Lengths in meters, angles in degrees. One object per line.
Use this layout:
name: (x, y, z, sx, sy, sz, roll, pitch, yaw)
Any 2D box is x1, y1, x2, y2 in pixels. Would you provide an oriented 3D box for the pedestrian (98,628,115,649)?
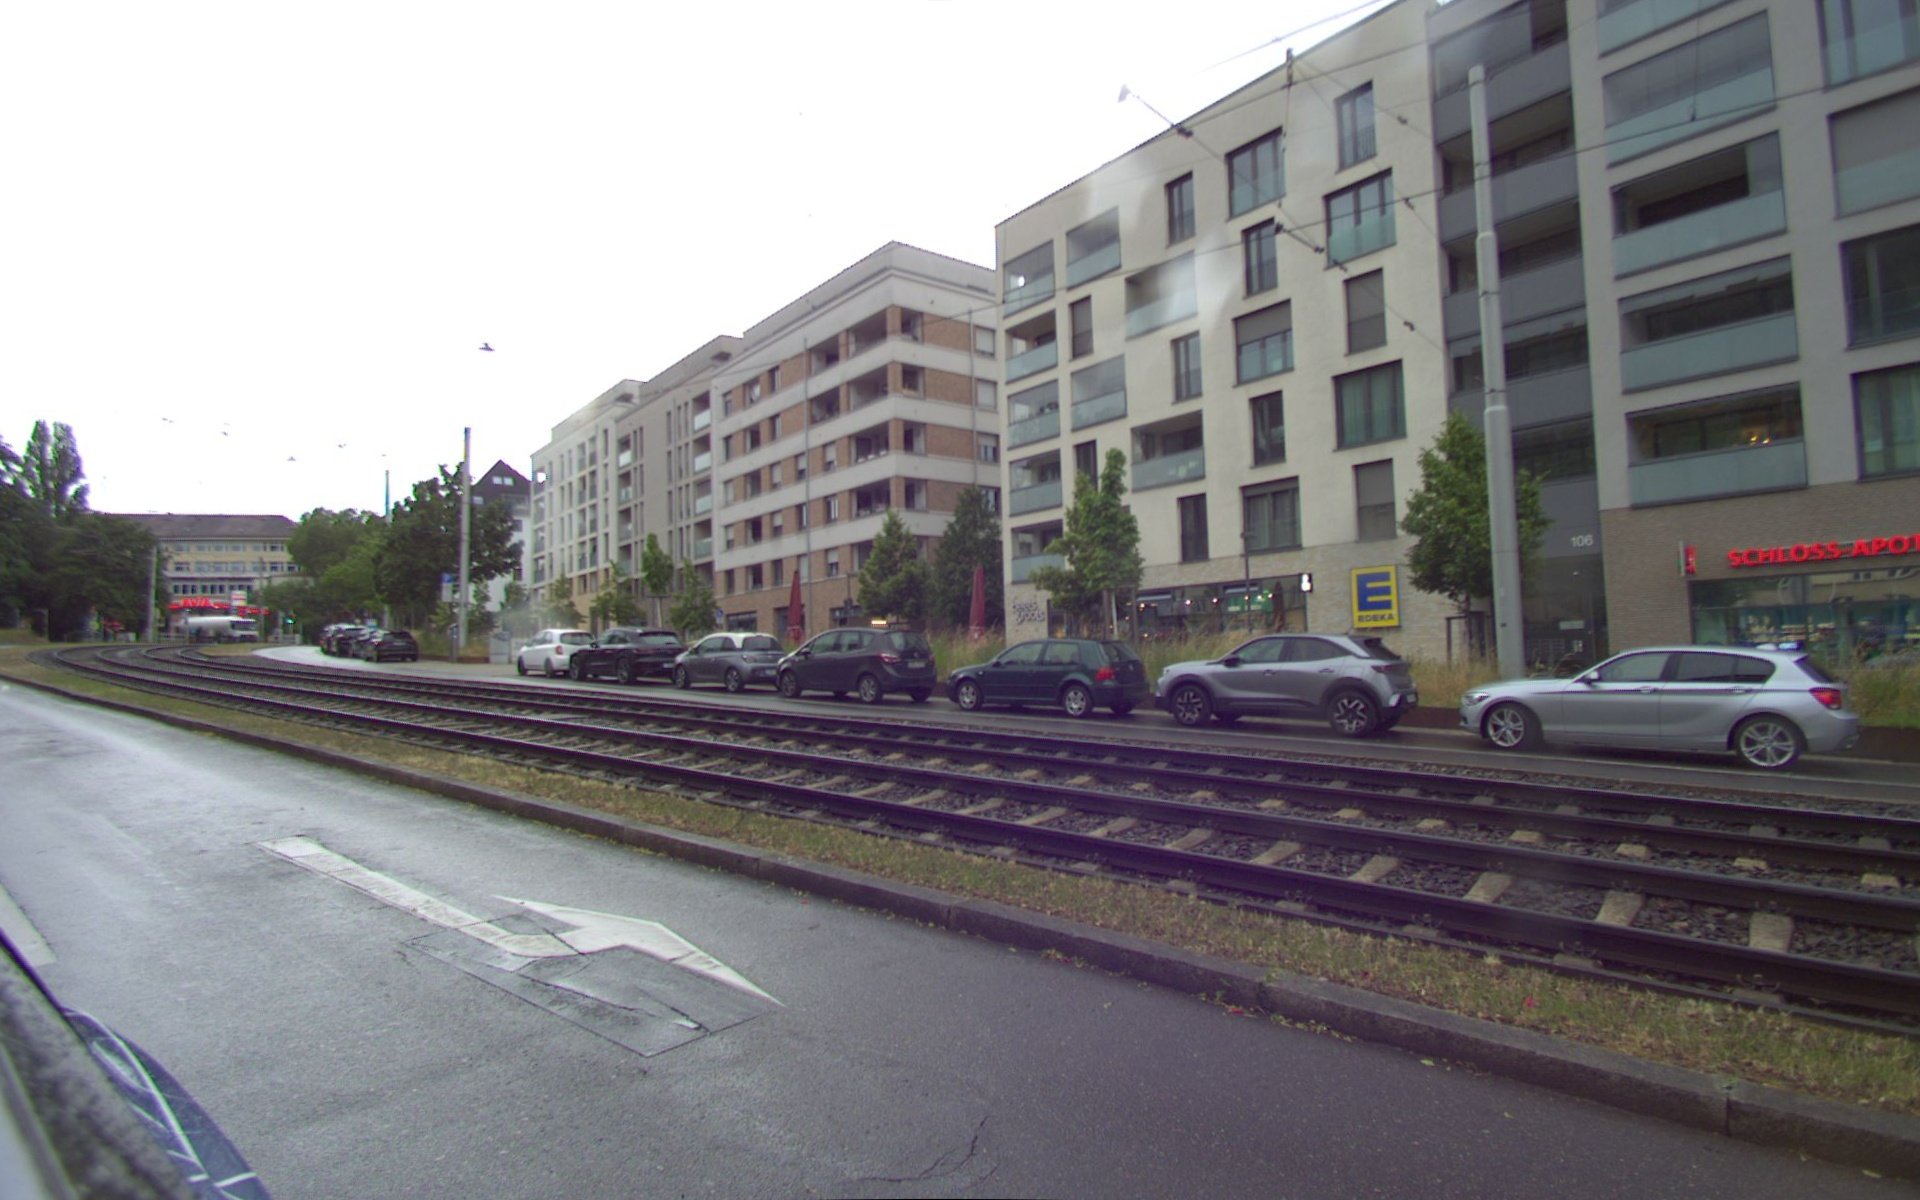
pedestrian: (-75.277, 3.376, 89.271, 0.805, 1.777, 0.750, 2, -4, -10)

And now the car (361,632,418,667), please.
car: (-26.306, 2.245, 46.627, 1.630, 1.475, 3.676, -1, 0, -40)

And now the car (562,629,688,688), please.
car: (-9.703, 1.631, 29.129, 1.660, 1.516, 4.408, 0, -1, -44)

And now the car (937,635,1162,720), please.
car: (1.619, 1.385, 19.157, 4.030, 1.391, 1.663, -1, -1, 40)

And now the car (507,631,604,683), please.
car: (-13.131, 1.801, 32.734, 1.627, 1.516, 3.784, 0, -1, -44)

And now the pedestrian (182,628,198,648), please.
pedestrian: (-70.944, 3.534, 93.253, 0.739, 1.777, 0.818, 1, -4, 3)

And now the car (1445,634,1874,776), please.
car: (8.815, 1.211, 13.062, 4.326, 1.475, 1.663, -1, -1, 40)

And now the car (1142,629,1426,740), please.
car: (5.125, 1.252, 16.240, 4.042, 1.541, 1.665, -1, -1, 36)

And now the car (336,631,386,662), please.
car: (-31.335, 2.402, 52.875, 1.630, 1.475, 3.676, -1, 0, -40)

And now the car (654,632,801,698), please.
car: (-6.014, 1.601, 25.944, 3.926, 1.516, 1.663, -1, -1, 40)

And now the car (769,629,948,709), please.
car: (-2.293, 1.444, 22.290, 3.926, 1.575, 1.663, -1, -1, 40)

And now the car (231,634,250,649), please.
car: (-81.024, 4.659, 113.934, 1.641, 1.619, 3.818, -1, 0, -34)
